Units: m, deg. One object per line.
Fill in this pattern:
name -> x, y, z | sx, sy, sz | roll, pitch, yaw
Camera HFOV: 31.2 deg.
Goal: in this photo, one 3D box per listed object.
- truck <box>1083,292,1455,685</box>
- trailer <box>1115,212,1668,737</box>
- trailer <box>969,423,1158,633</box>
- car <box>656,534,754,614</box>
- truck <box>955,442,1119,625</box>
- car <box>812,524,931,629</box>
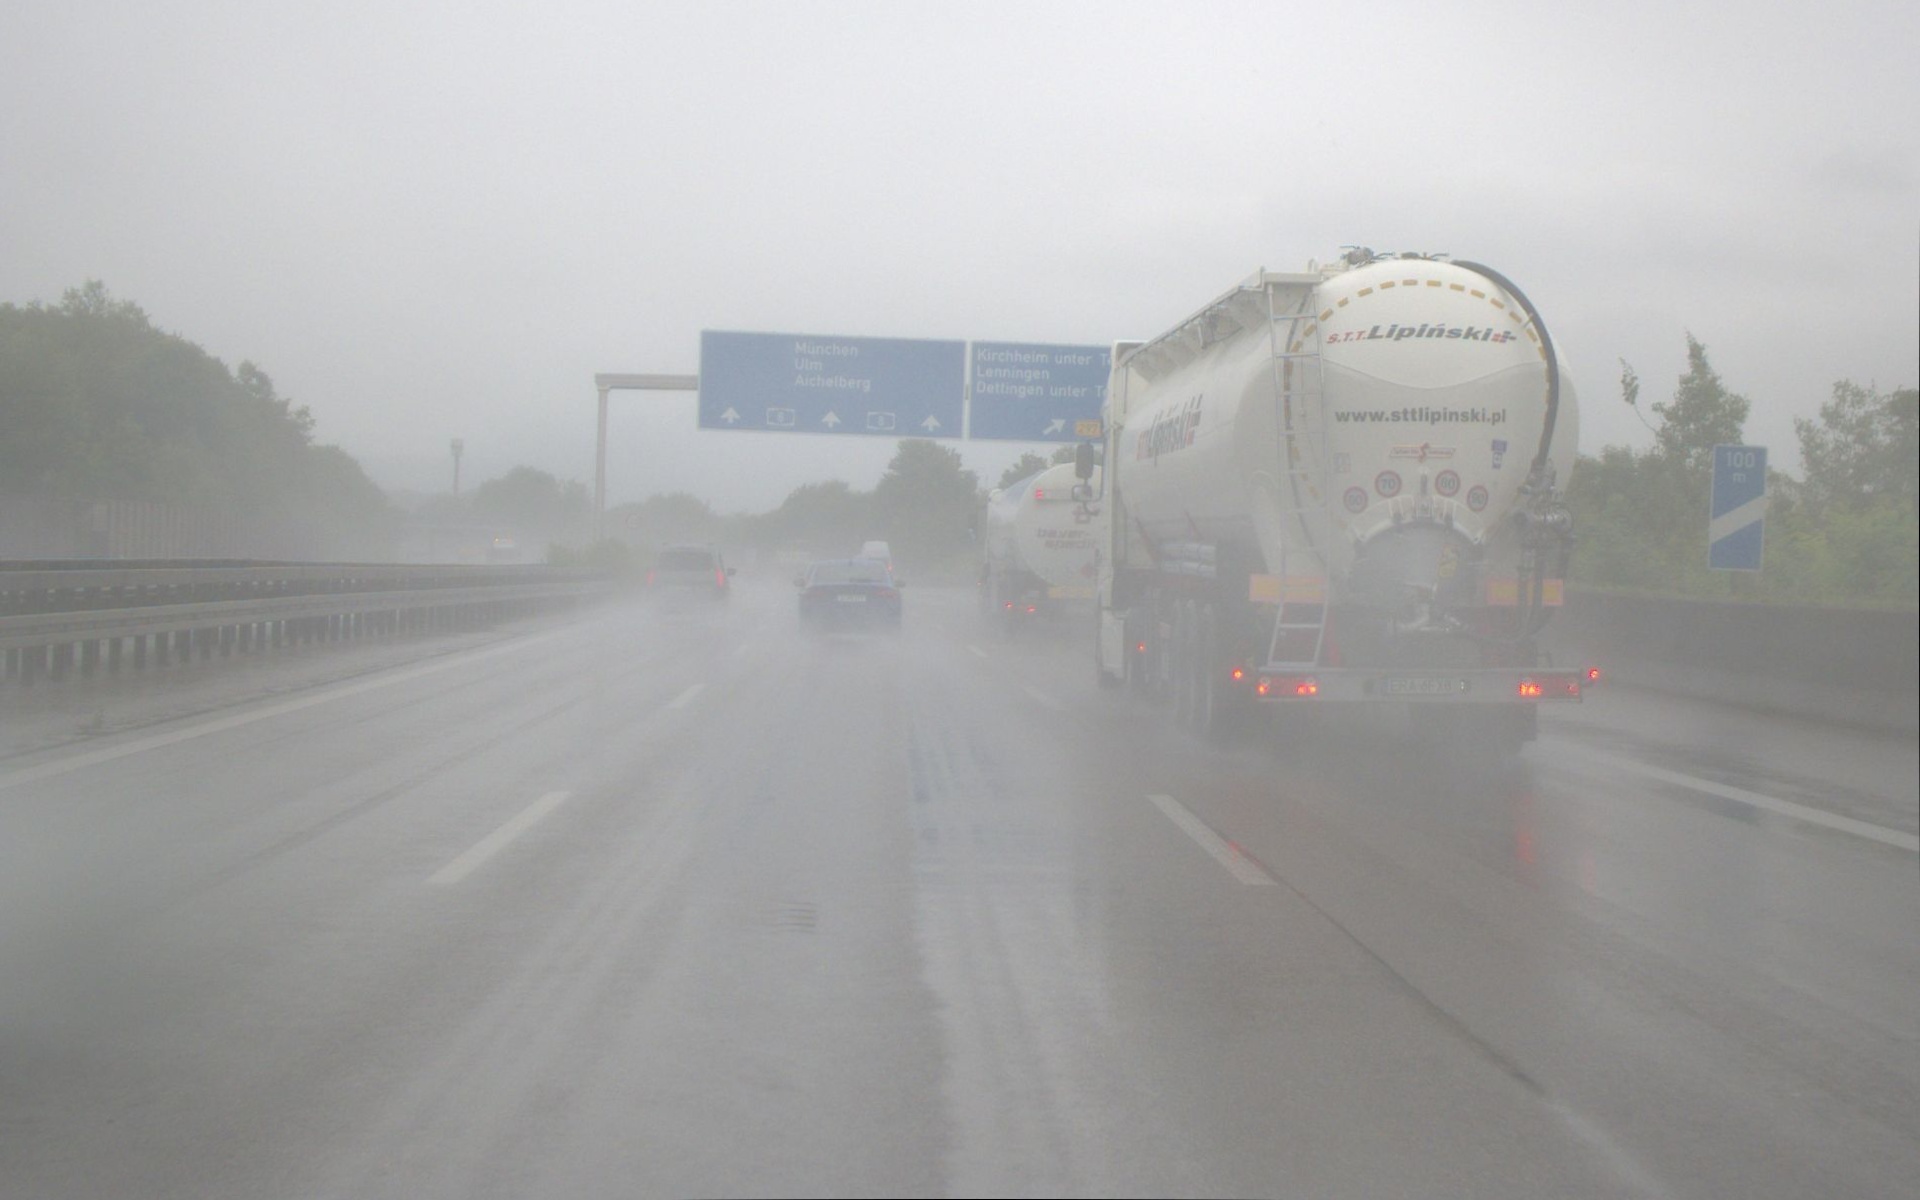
truck -> 3.164, -1.163, 37.348 | 3.104, 3.793, 7.213 | 1, 1, -2
trailer -> 3.322, -0.997, 30.238 | 3.188, 3.657, 11.667 | 1, 1, -1
trailer -> 1.924, -1.399, 67.903 | 3.004, 3.834, 8.625 | 1, 1, -3
car -> -5.737, -0.602, 77.788 | 1.925, 1.735, 4.404 | 1, 1, -1
truck -> 1.563, -1.397, 72.976 | 2.943, 3.671, 6.362 | 1, 1, -3
car -> -1.545, -0.433, 60.181 | 1.978, 1.750, 4.482 | 1, 1, -1
